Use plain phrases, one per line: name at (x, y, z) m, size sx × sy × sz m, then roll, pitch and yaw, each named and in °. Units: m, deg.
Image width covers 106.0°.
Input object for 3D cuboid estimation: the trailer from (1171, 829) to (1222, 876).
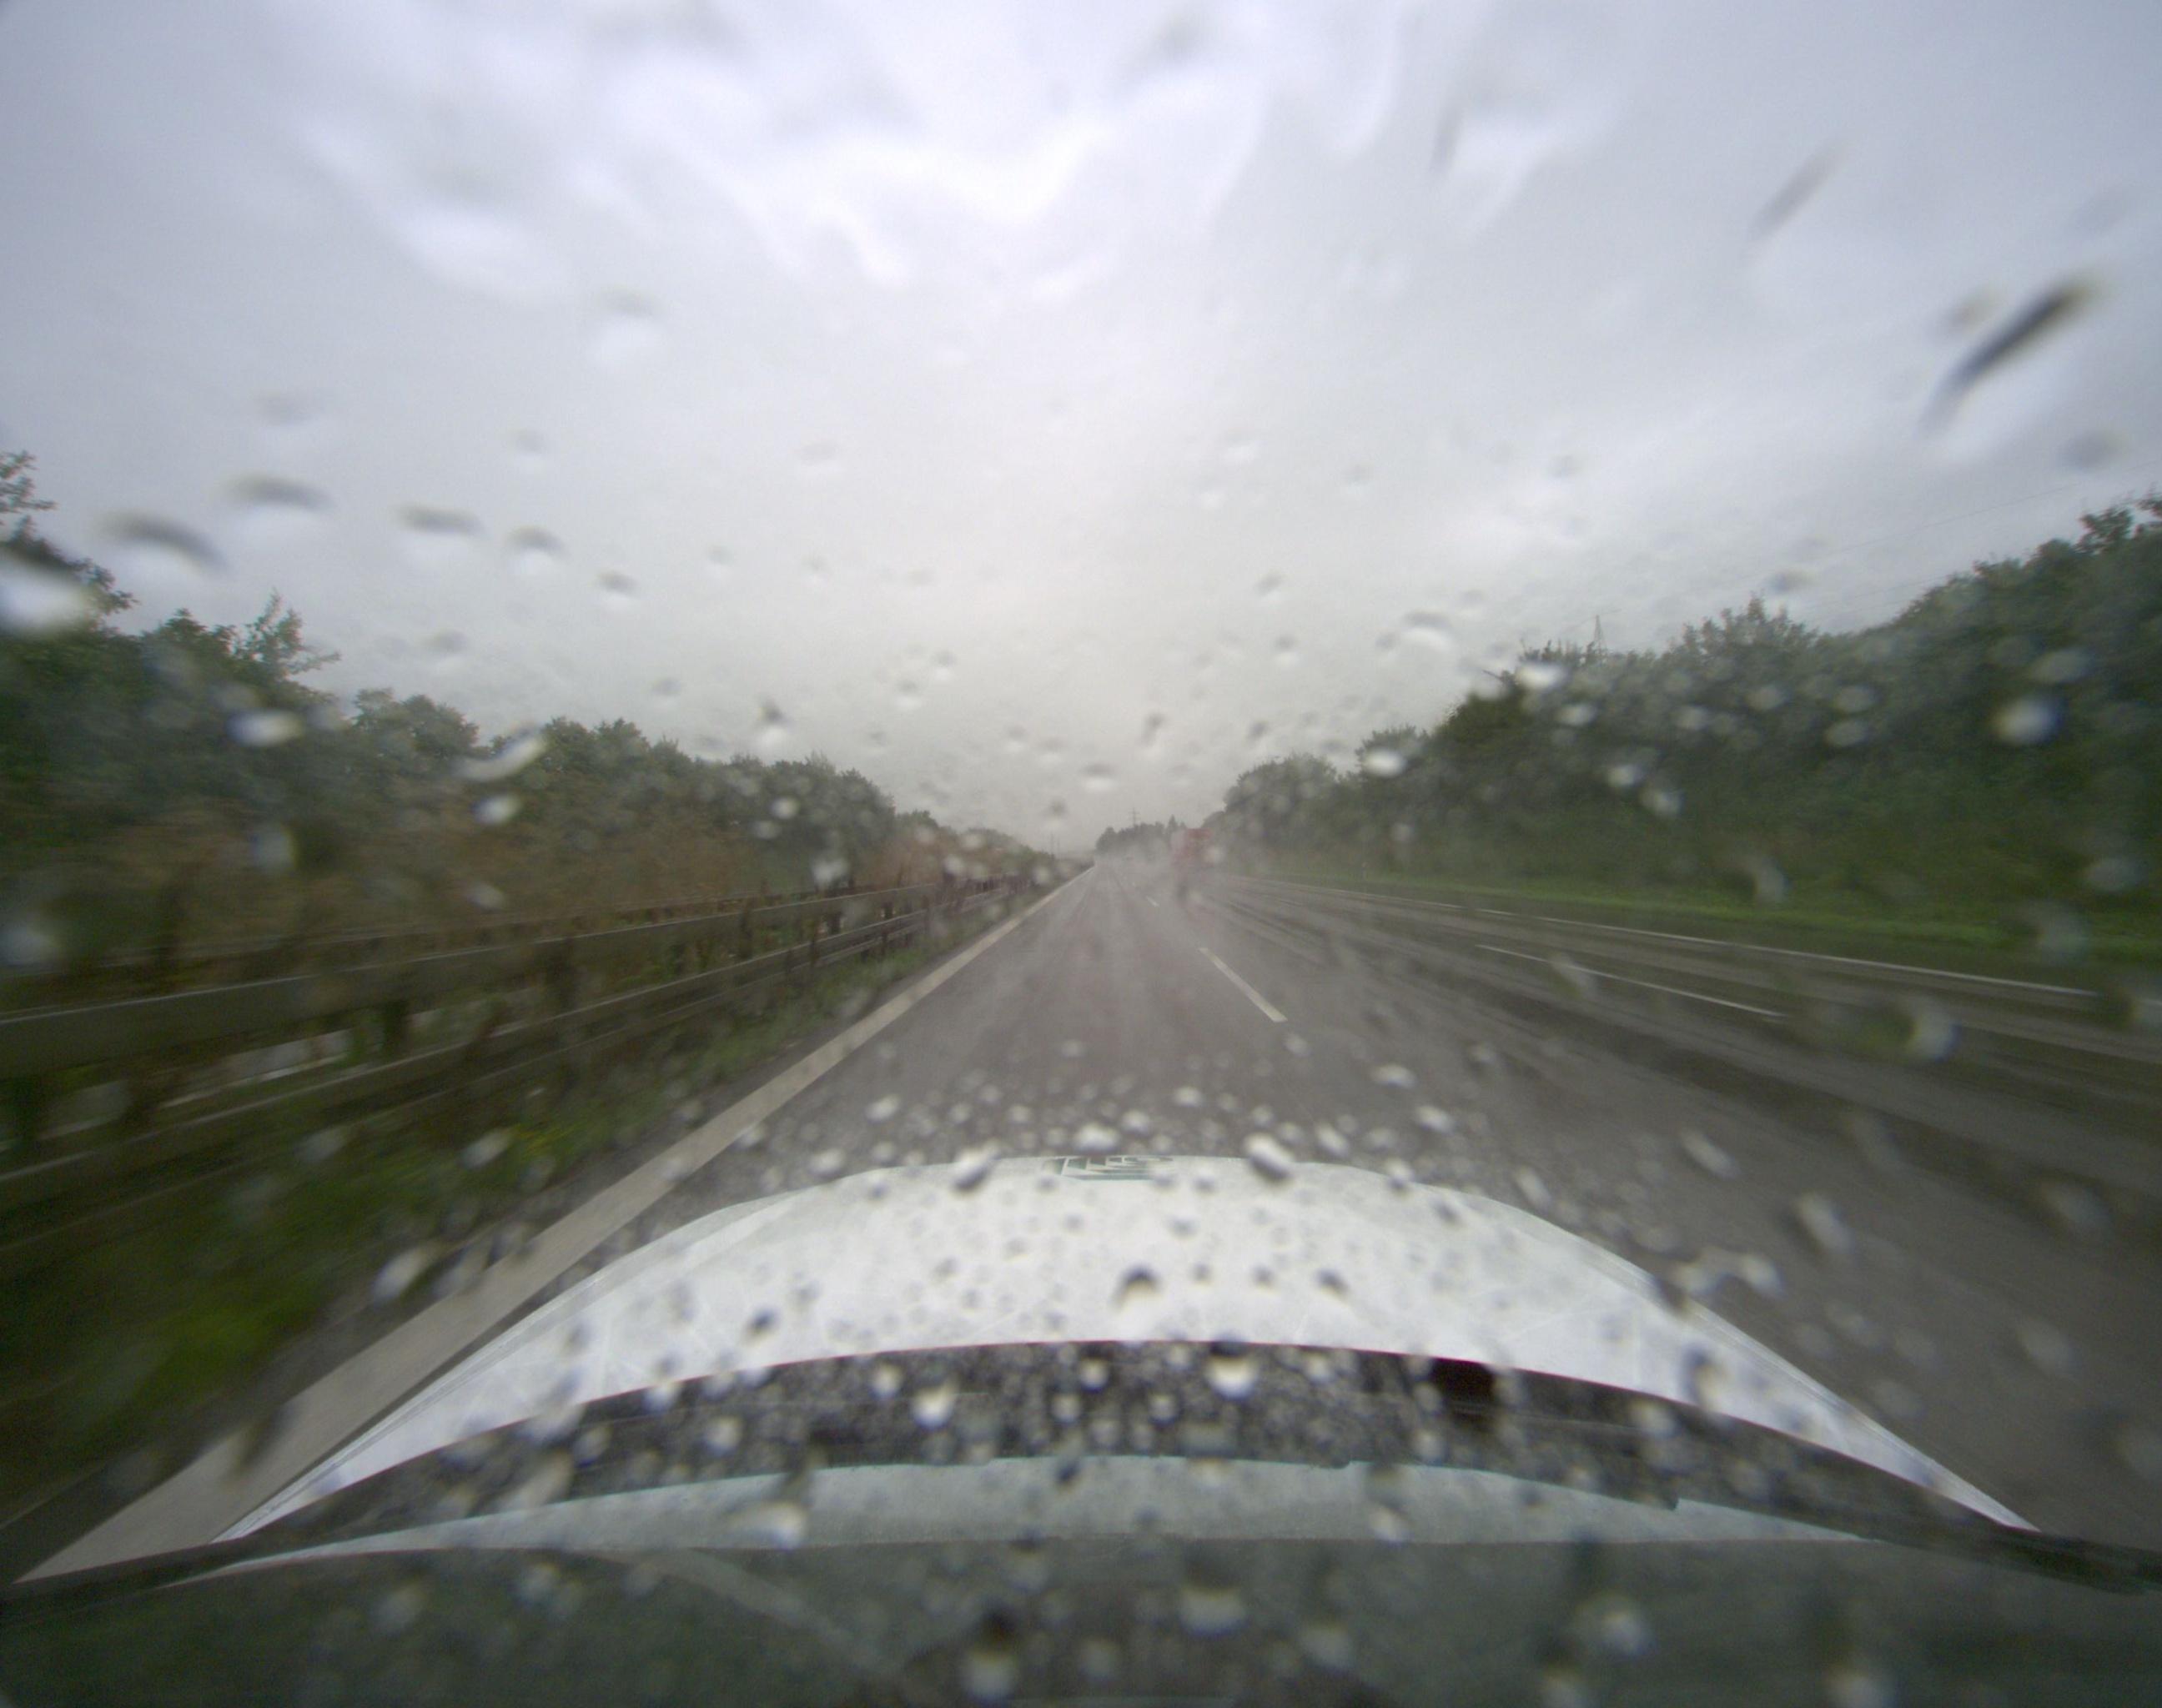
trailer at (10.859, -0.071, 77.792) m, size 2.612 × 3.955 × 13.626 m, roll -4°, pitch -1°, yaw 0°
